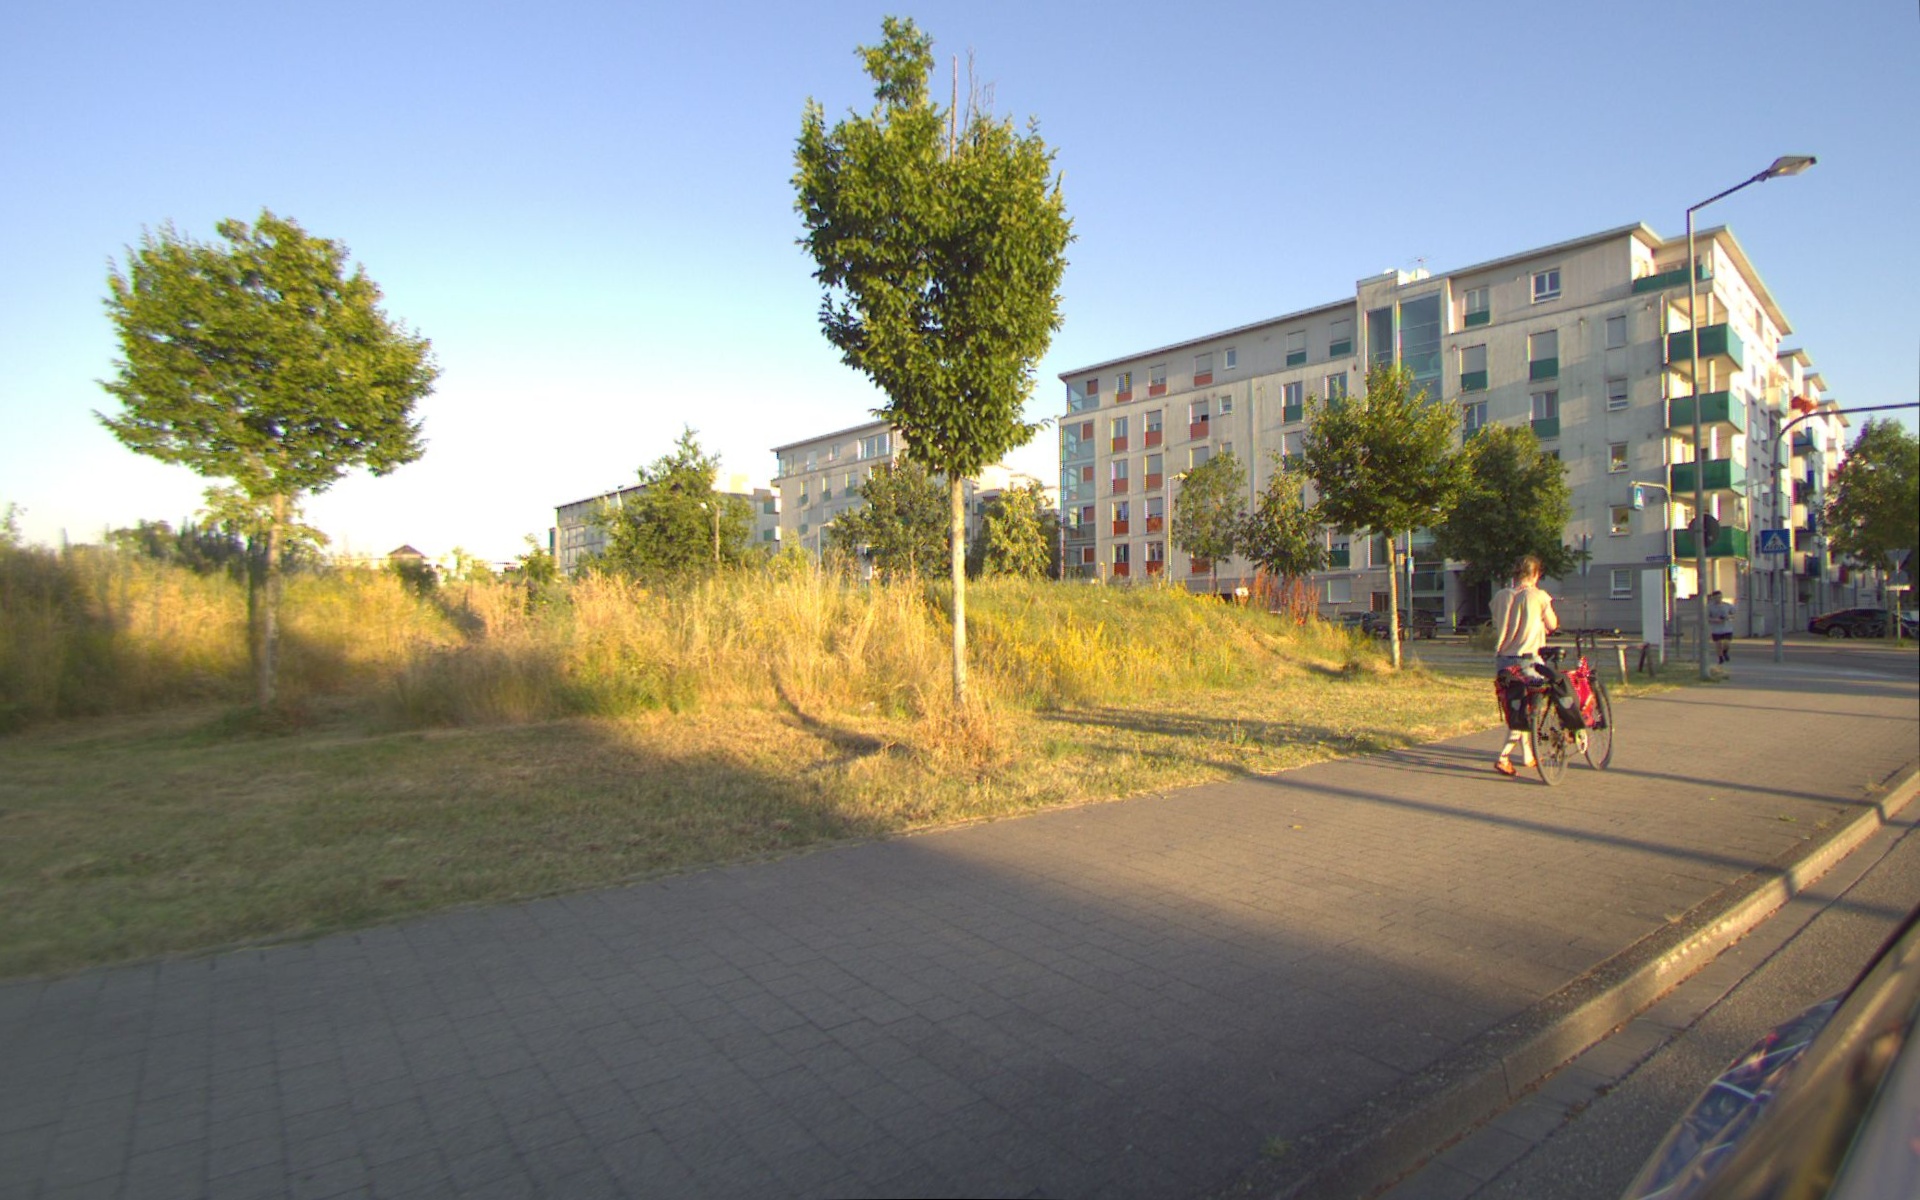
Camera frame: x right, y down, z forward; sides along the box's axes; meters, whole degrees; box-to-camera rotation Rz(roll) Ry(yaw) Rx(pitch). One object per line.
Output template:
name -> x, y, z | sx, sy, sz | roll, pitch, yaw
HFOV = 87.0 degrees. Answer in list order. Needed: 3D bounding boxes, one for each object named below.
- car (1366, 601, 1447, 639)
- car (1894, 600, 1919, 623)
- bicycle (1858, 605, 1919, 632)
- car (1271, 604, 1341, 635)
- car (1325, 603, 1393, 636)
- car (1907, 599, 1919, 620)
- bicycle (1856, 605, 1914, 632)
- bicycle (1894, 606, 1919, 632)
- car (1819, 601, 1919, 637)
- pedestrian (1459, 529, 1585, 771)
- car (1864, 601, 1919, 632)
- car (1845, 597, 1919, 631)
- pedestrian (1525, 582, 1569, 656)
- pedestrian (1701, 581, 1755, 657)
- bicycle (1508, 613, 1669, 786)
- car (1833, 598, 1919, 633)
car -> 20.864, 0.909, 47.232 | 4.406, 1.506, 1.829 | -3, 1, -43
car -> 68.430, 0.841, 70.925 | 1.664, 1.555, 4.247 | 1, 1, -42
bicycle -> 40.411, 0.792, 43.978 | 2.028, 1.059, 0.466 | 2, 0, 43
car -> 17.596, 0.995, 51.372 | 3.987, 1.499, 1.697 | 1, -2, -43
car -> 19.602, 0.943, 49.641 | 3.939, 1.391, 1.556 | -3, 1, -43
car -> 72.976, 0.746, 74.798 | 1.664, 1.555, 4.247 | 1, 1, -42
bicycle -> 39.581, 0.785, 43.334 | 1.787, 1.055, 0.558 | 2, 0, 43
bicycle -> 40.875, 0.839, 42.895 | 1.834, 1.085, 0.466 | 2, 0, 43
car -> 41.840, 0.867, 45.343 | 1.904, 1.476, 4.883 | 1, 1, -41
pedestrian -> 4.518, 0.387, 8.133 | 0.803, 1.825, 0.596 | 1, -2, -38
car -> 51.030, 0.913, 53.856 | 4.283, 1.527, 1.659 | 2, 1, 43
car -> 45.810, 0.706, 49.051 | 1.714, 1.512, 4.286 | 1, 1, -44
pedestrian -> 14.696, 0.468, 25.330 | 0.788, 1.807, 0.732 | 2, -3, -43
pedestrian -> 18.094, 0.445, 23.836 | 0.753, 1.752, 0.801 | 1, -2, -36
bicycle -> 4.841, 0.698, 7.740 | 1.906, 1.184, 0.450 | 1, -2, -40
car -> 43.756, 0.733, 47.152 | 1.712, 1.527, 4.410 | 1, 1, -40
